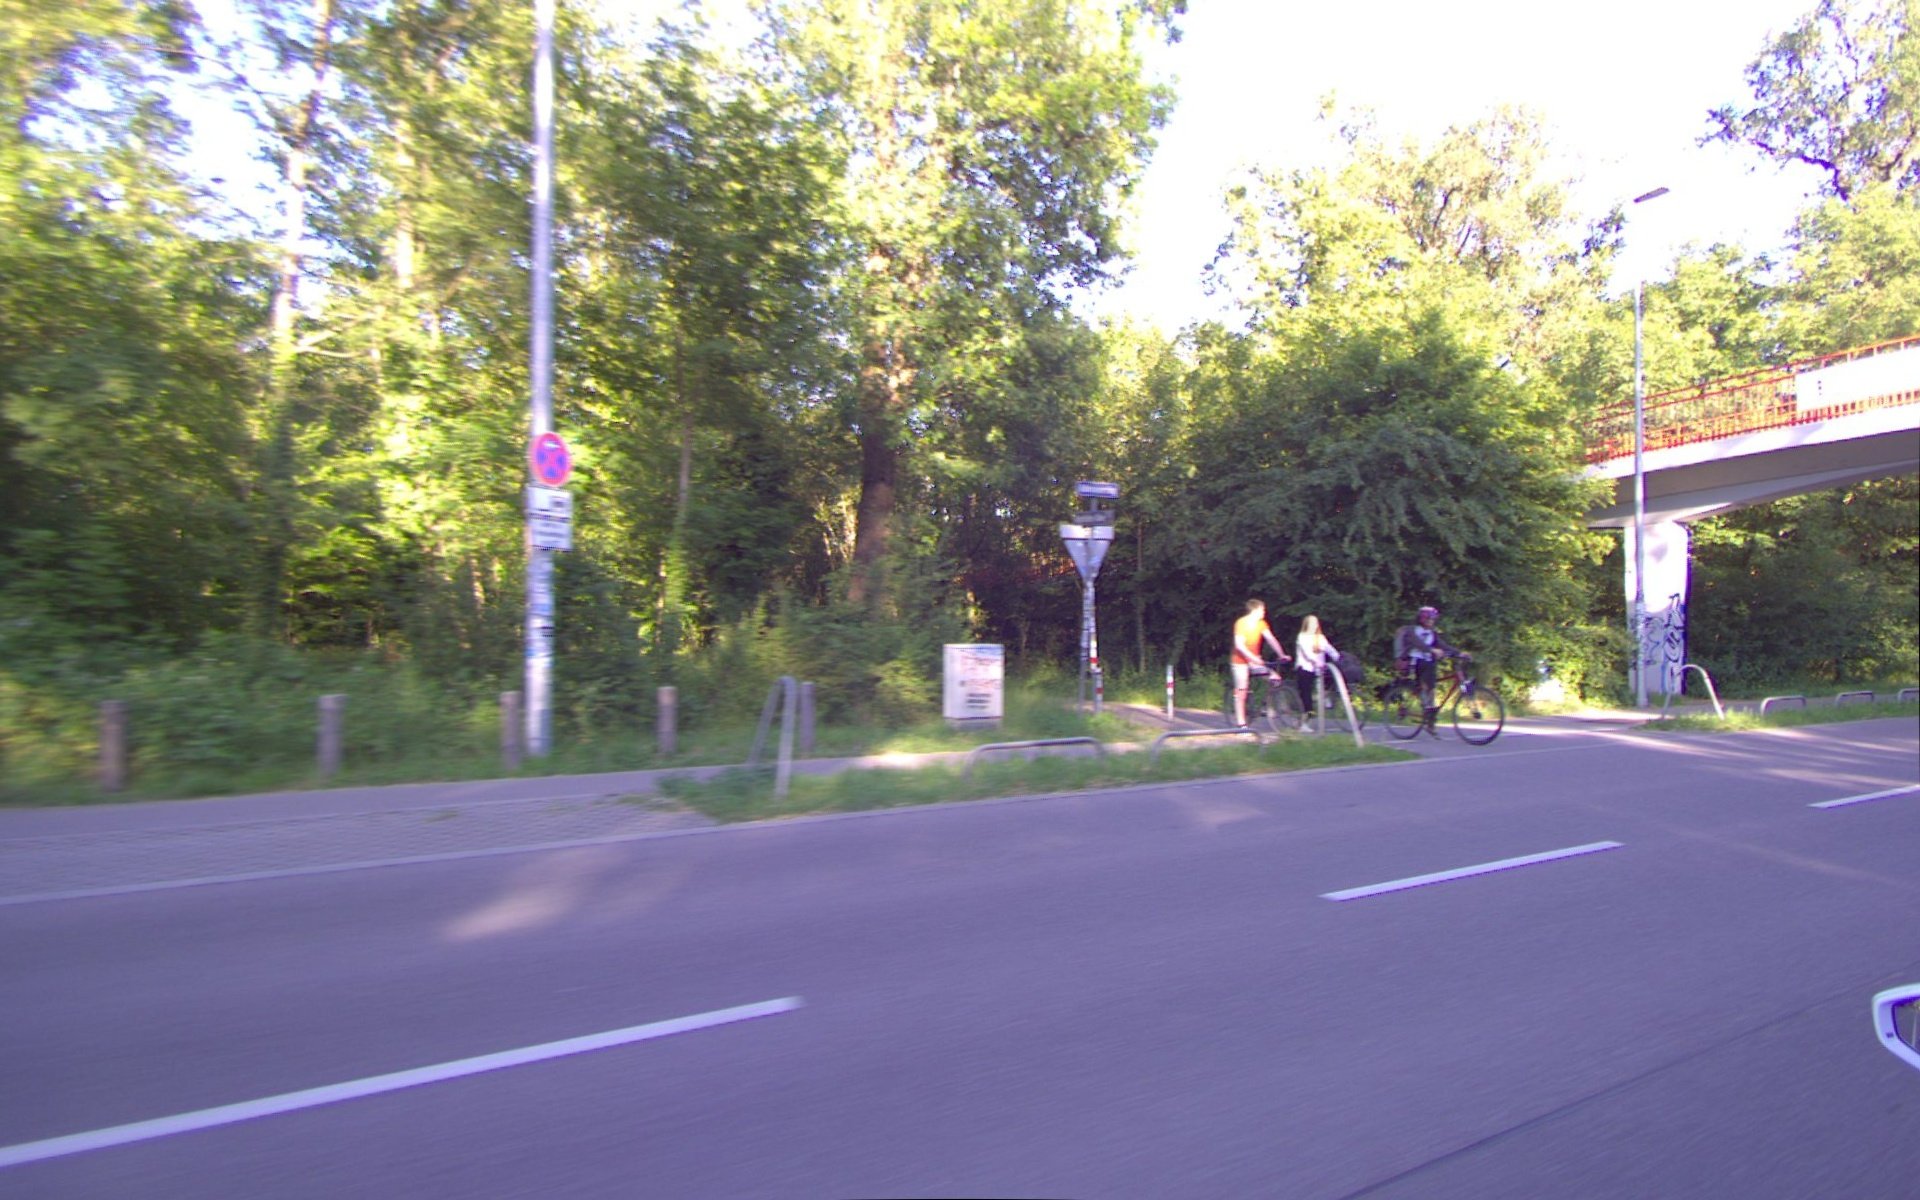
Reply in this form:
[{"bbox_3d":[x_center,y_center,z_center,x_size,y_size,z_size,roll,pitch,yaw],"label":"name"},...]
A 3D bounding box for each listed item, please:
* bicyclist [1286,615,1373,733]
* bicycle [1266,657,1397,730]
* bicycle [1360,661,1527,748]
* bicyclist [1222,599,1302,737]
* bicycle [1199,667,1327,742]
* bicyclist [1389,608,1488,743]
[{"bbox_3d":[5.554,1.085,15.122,0.931,1.719,0.794,1,-1,-21],"label":"bicyclist"},{"bbox_3d":[5.548,1.369,15.142,0.812,0.947,1.924,1,-1,-20],"label":"bicycle"},{"bbox_3d":[6.128,1.291,12.873,0.812,0.947,1.924,1,-1,-20],"label":"bicycle"},{"bbox_3d":[4.393,0.967,14.626,0.805,1.926,0.794,1,-1,-20],"label":"bicyclist"},{"bbox_3d":[4.368,1.480,14.650,0.812,0.947,1.924,1,-2,-20],"label":"bicycle"},{"bbox_3d":[6.126,0.937,12.892,0.828,1.665,0.794,1,-1,-20],"label":"bicyclist"}]
